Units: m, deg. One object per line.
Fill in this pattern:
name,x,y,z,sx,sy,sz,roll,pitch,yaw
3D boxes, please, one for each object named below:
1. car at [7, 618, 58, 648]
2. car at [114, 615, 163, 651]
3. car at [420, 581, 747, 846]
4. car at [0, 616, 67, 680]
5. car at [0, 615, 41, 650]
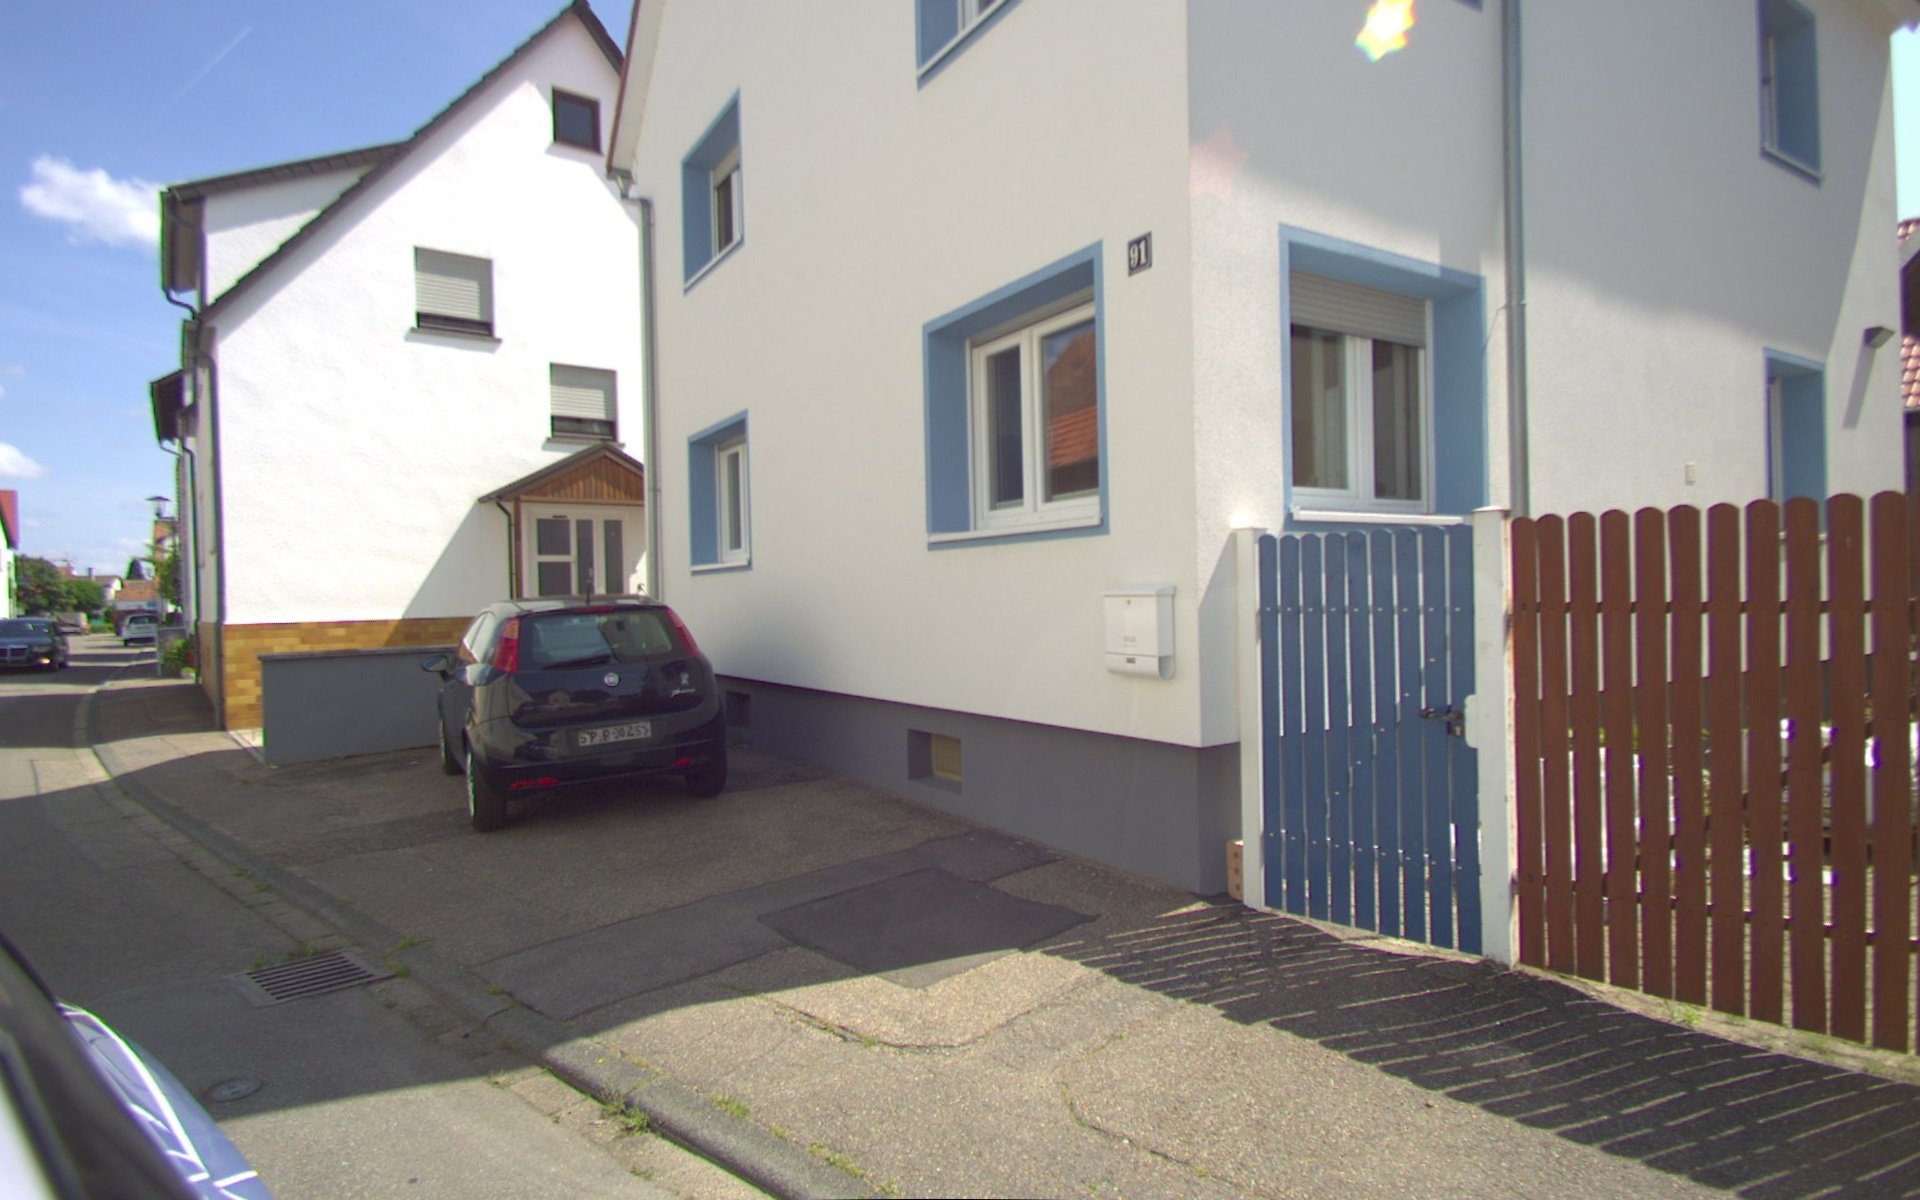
car,-54.012,1.909,59.004,1.758,1.511,4.047,-5,3,-38
car,-41.814,1.639,51.590,1.758,1.621,4.008,-5,3,-38
car,-3.119,0.669,7.875,1.615,1.466,3.798,-3,1,-32
car,-25.828,1.260,27.703,1.758,1.547,4.719,-2,1,-38
car,-46.175,1.594,49.264,1.758,1.511,4.047,-5,3,-38
